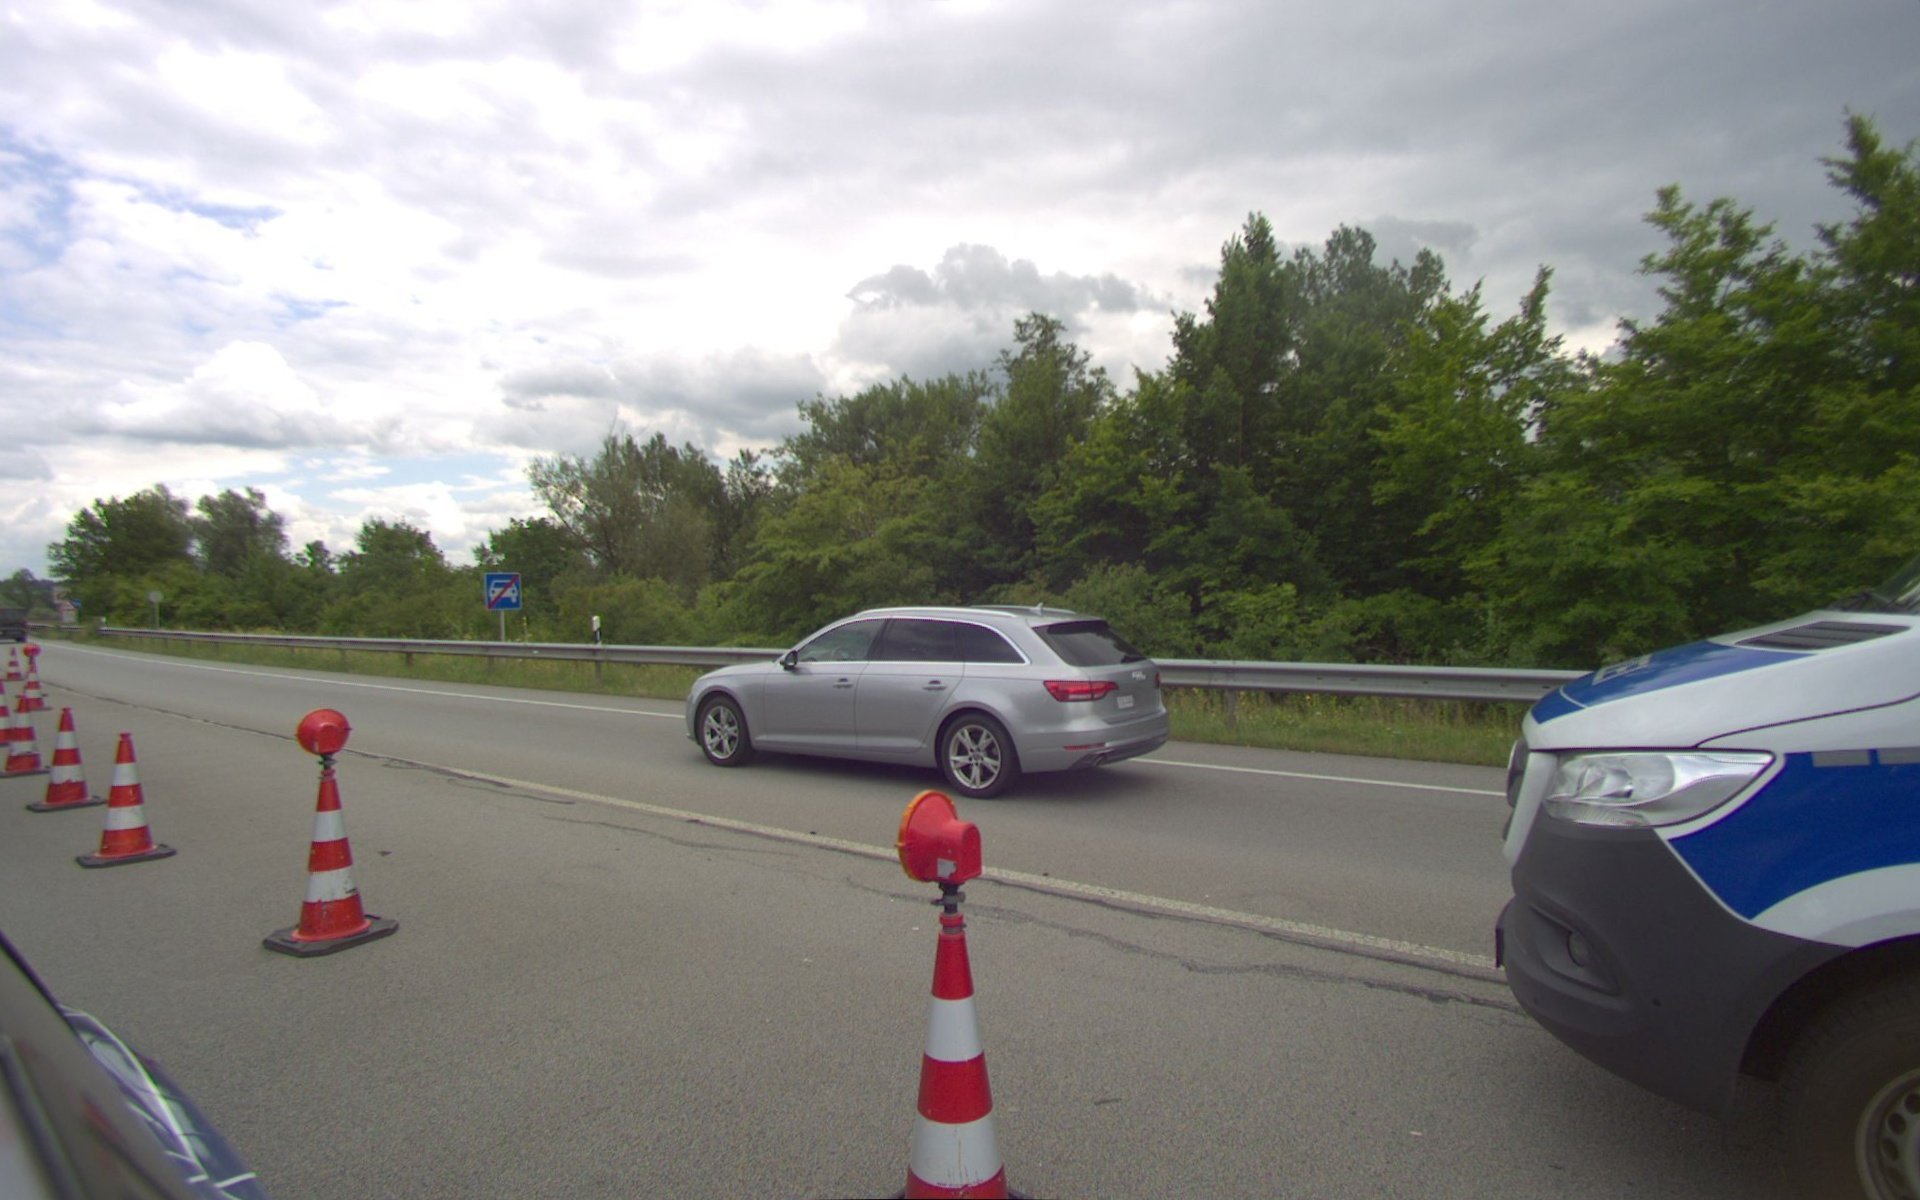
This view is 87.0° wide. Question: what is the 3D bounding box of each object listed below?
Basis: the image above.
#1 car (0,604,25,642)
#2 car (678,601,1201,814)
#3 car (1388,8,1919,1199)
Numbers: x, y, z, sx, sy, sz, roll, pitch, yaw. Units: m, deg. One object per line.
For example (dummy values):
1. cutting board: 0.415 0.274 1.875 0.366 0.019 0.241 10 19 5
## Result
1. car: -52.237 1.247 54.809 5.316 2.002 2.007 -1 -1 43
2. car: -0.323 0.755 8.718 4.364 1.412 1.665 -1 -1 35
3. car: 3.738 0.113 1.624 5.271 2.482 2.010 -1 -1 38
